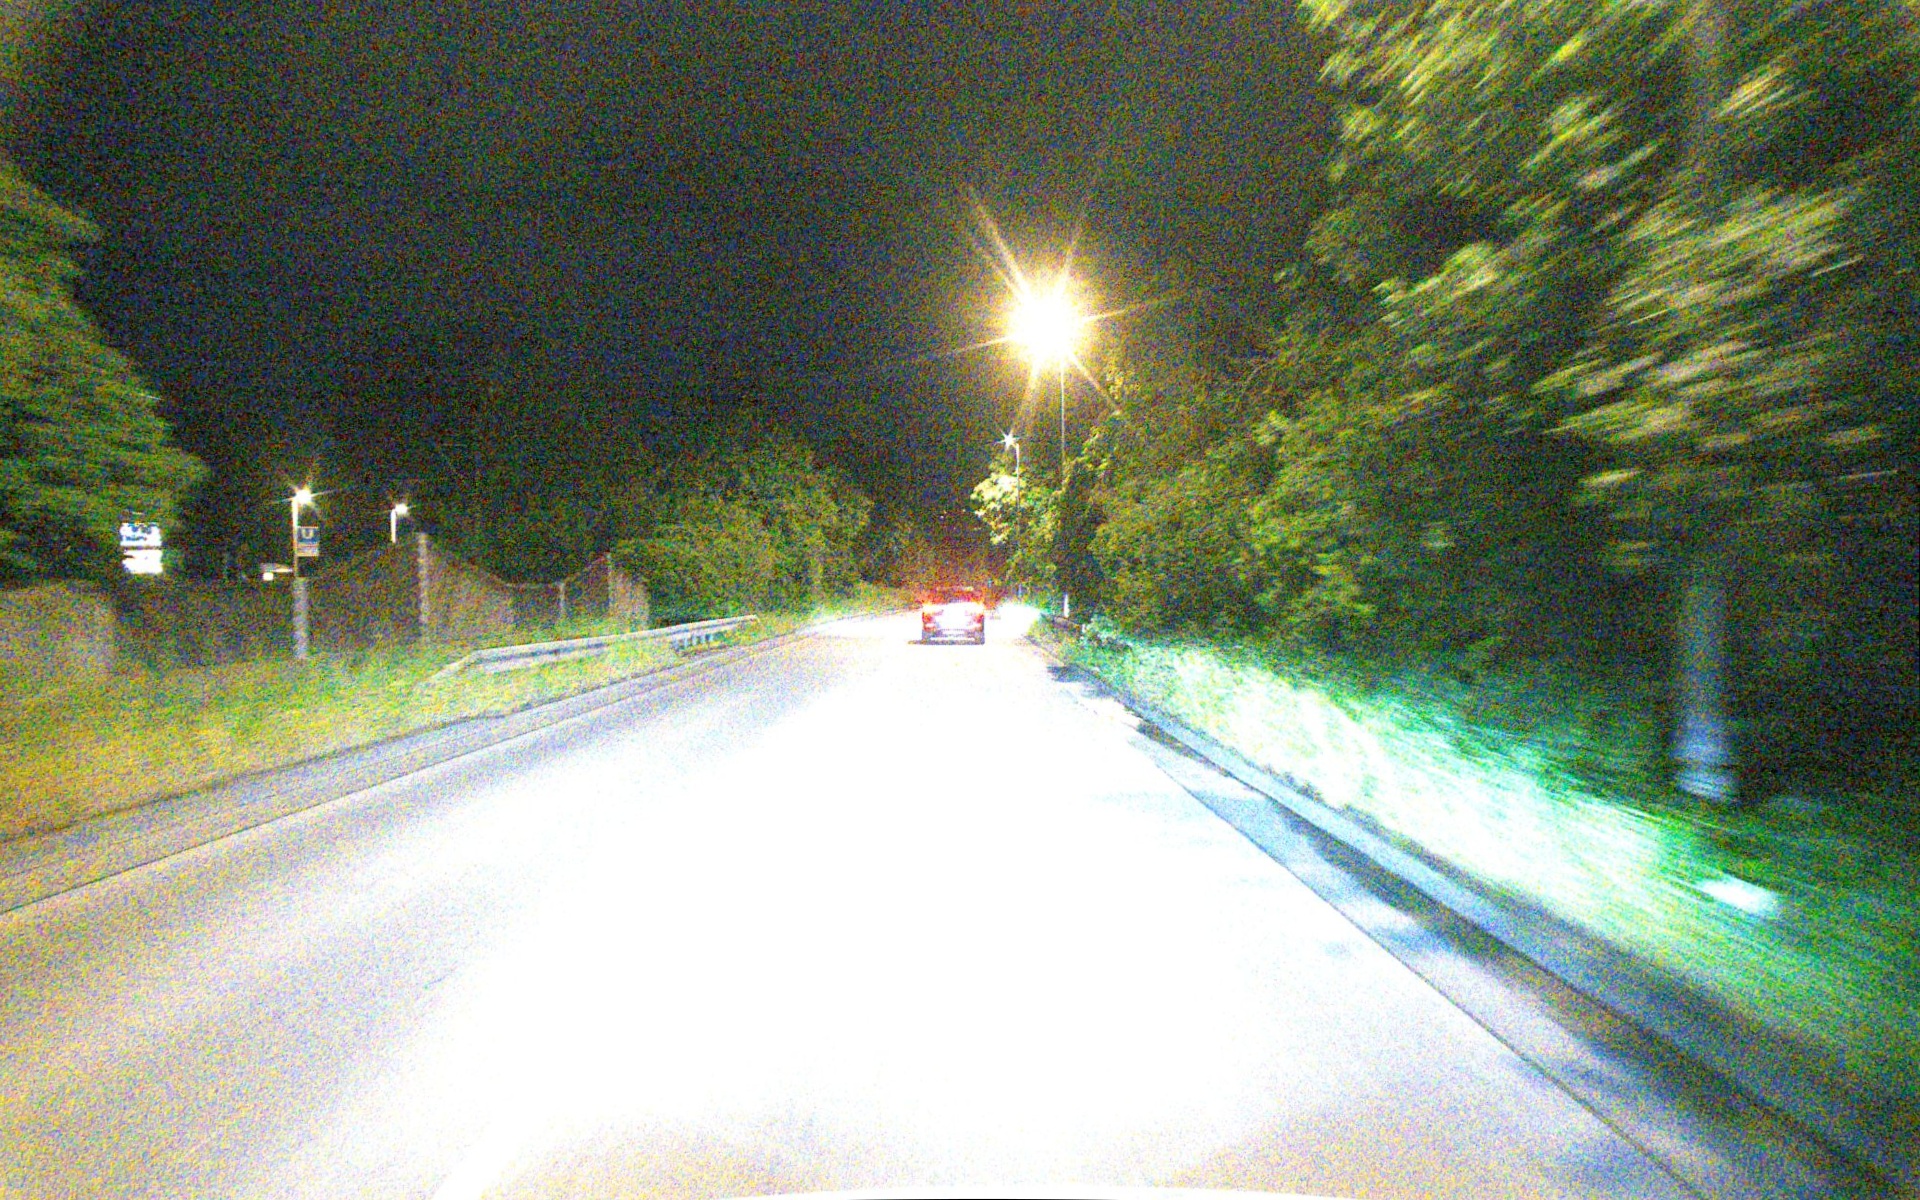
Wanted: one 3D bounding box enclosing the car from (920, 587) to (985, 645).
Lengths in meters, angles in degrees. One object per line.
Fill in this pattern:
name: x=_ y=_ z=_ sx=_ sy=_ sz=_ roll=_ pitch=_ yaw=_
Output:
car: x=-0.223 y=0.425 z=47.339 sx=1.778 sy=1.601 sz=3.943 roll=0 pitch=0 yaw=-1
